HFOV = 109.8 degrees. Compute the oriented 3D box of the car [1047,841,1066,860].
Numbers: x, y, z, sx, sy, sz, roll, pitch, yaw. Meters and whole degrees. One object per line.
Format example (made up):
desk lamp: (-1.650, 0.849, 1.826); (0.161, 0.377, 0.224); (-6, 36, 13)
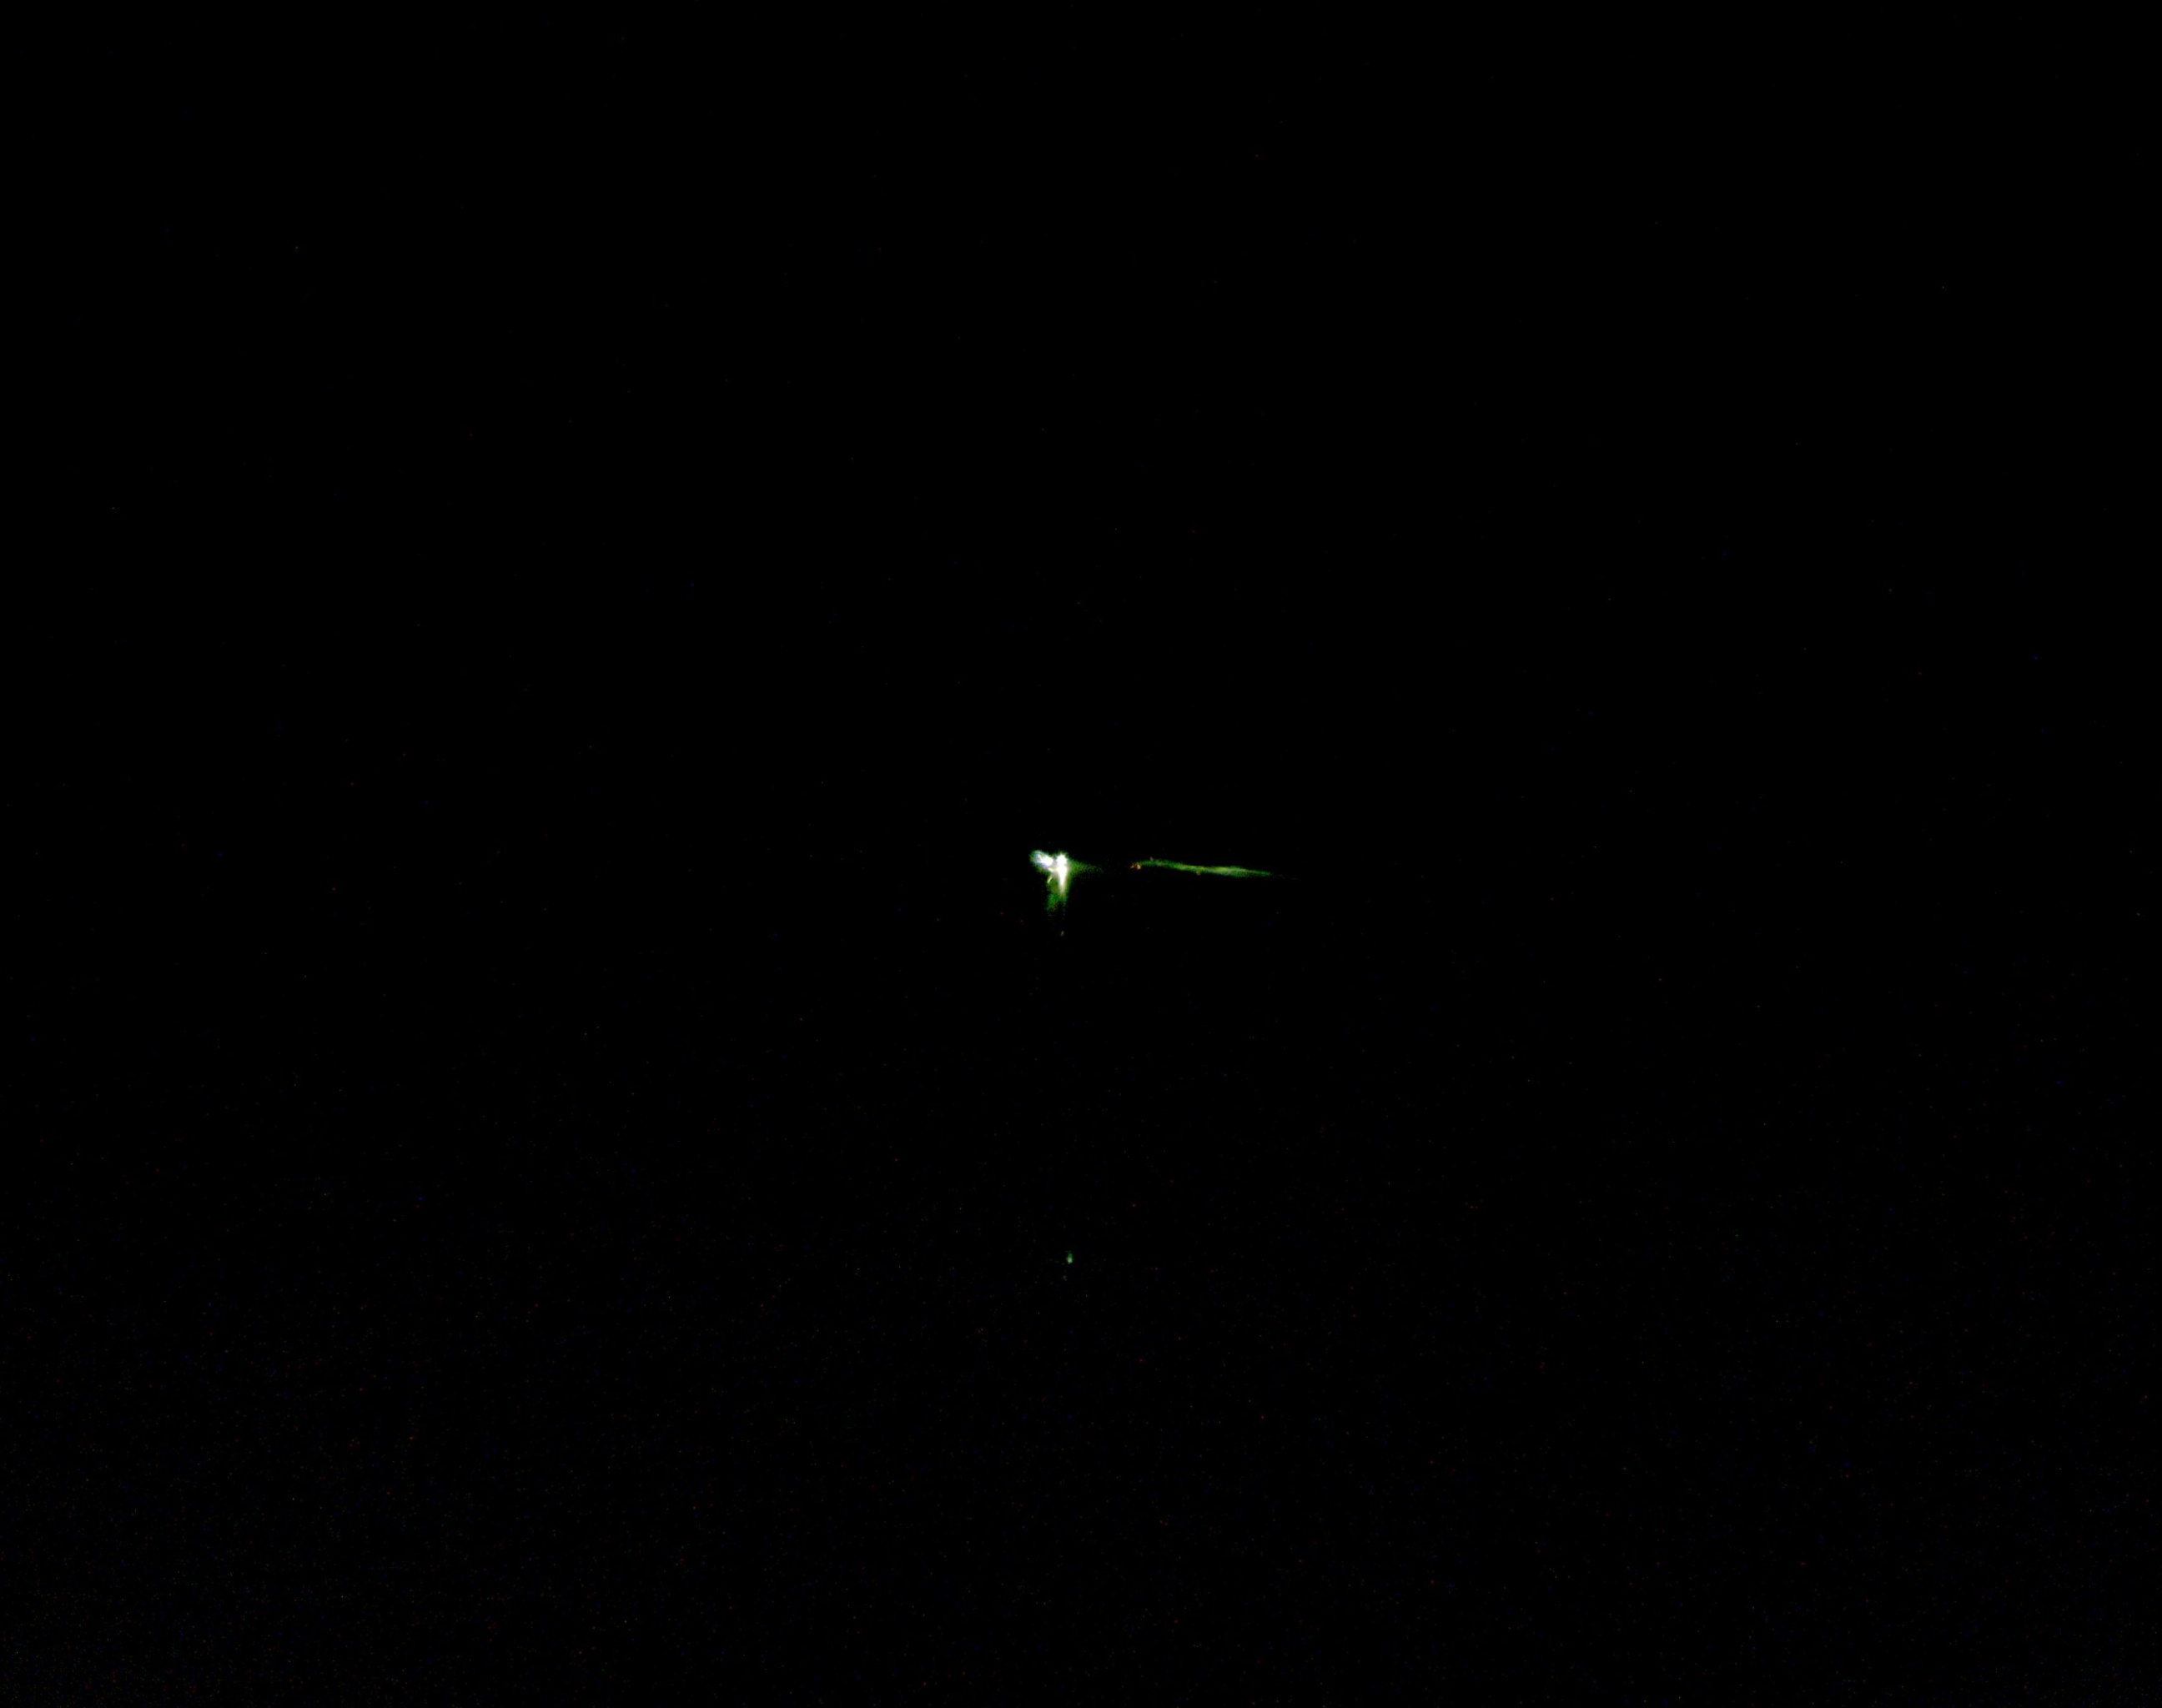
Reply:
car: (-2.976, -0.398, 91.674); (1.998, 2.003, 3.998); (-3, 3, 1)
